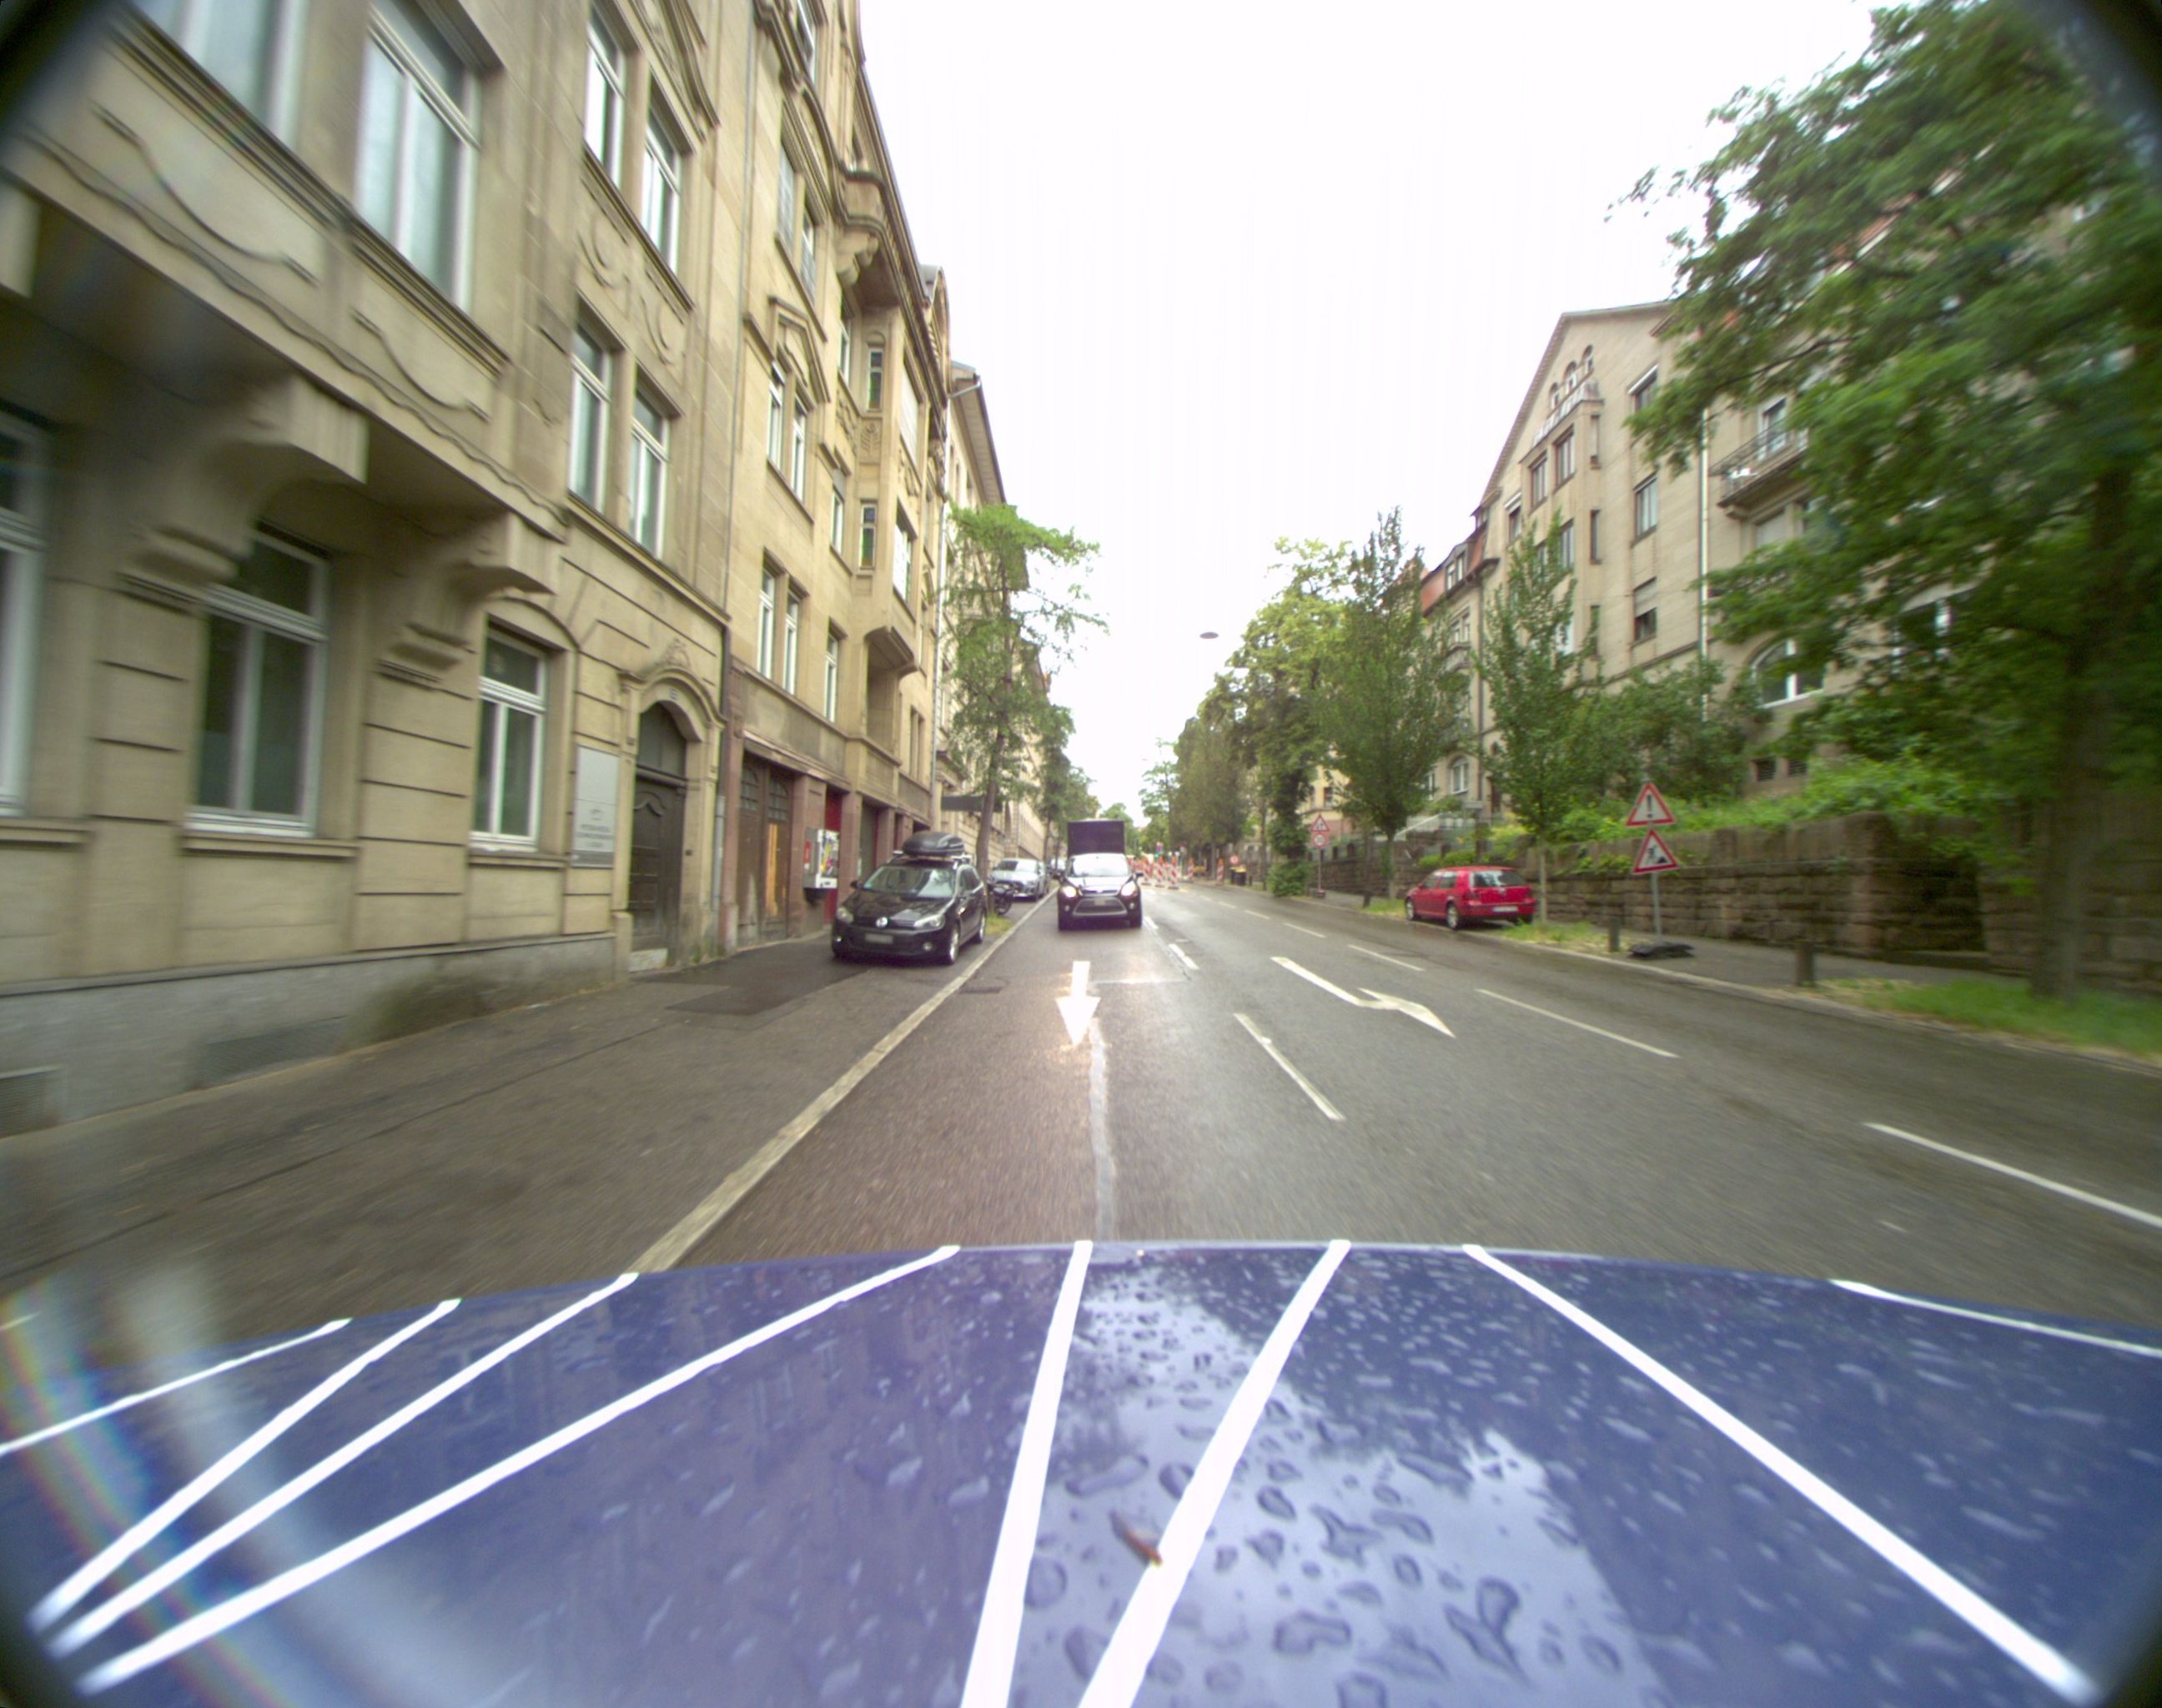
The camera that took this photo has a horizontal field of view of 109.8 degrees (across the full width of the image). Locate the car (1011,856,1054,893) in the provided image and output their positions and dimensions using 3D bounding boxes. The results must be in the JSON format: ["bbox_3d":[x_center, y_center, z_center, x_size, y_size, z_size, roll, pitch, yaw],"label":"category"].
[{"bbox_3d":[-2.059,0.854,32.821,1.495,1.440,3.181,1,0,2],"label":"car"}]

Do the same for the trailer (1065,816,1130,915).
[{"bbox_3d":[0.486,0.305,23.612,1.783,2.744,4.816,-1,1,0],"label":"trailer"}]

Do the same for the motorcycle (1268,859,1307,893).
[{"bbox_3d":[9.347,0.968,34.531,0.802,1.406,3.061,-2,0,-2],"label":"motorcycle"}]

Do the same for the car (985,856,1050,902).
[{"bbox_3d":[-2.216,0.827,27.354,1.794,1.444,4.039,3,0,2],"label":"car"}]

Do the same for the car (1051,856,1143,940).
[{"bbox_3d":[0.402,0.889,17.496,1.823,1.662,4.522,-1,0,2],"label":"car"}]

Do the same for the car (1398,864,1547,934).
[{"bbox_3d":[9.309,0.995,18.452,1.617,1.442,4.064,-1,0,2],"label":"car"}]

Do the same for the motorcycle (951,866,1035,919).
[{"bbox_3d":[-2.192,0.984,19.242,0.523,1.236,2.282,3,-1,40],"label":"motorcycle"}]

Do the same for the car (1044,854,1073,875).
[{"bbox_3d":[-1.736,0.782,58.890,1.910,1.503,4.318,3,0,2],"label":"car"}]

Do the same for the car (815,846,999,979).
[{"bbox_3d":[-2.546,0.783,12.183,1.764,1.642,4.099,4,0,2],"label":"car"}]
